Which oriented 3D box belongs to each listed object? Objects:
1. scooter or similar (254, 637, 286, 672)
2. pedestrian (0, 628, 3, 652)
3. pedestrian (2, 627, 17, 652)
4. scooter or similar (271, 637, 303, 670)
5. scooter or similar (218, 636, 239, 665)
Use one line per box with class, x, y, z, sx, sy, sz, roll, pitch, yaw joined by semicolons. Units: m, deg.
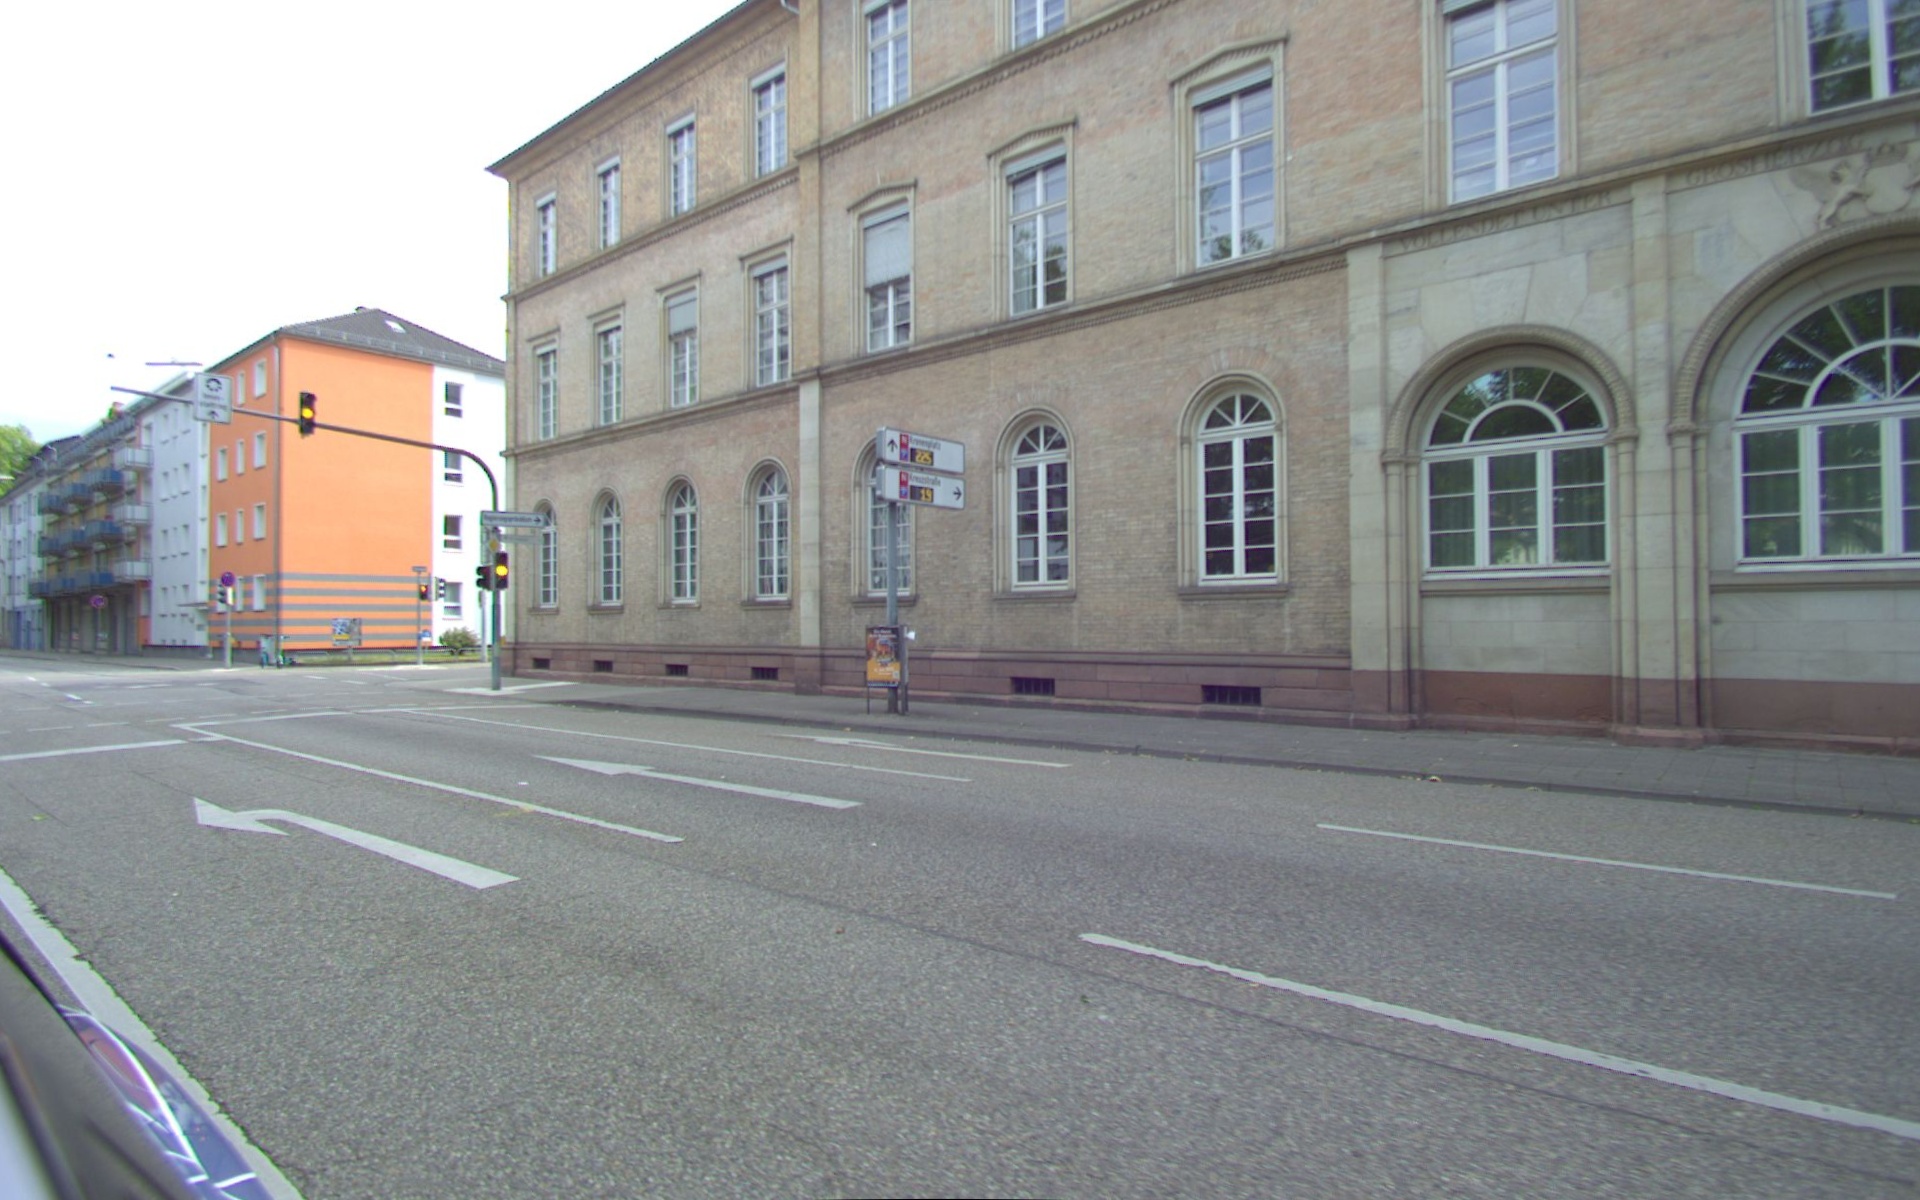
scooter or similar;-24.570;1.944;36.015;1.336;1.188;0.327;-2;-1;28
pedestrian;-79.551;3.316;83.441;0.875;2.029;0.831;-2;-1;44
pedestrian;-79.079;3.306;84.193;0.875;2.029;0.831;-2;-1;44
scooter or similar;-24.399;1.928;36.674;1.347;1.166;0.327;-2;-1;28
scooter or similar;-29.448;2.017;40.727;1.353;1.133;0.364;-2;-1;41
